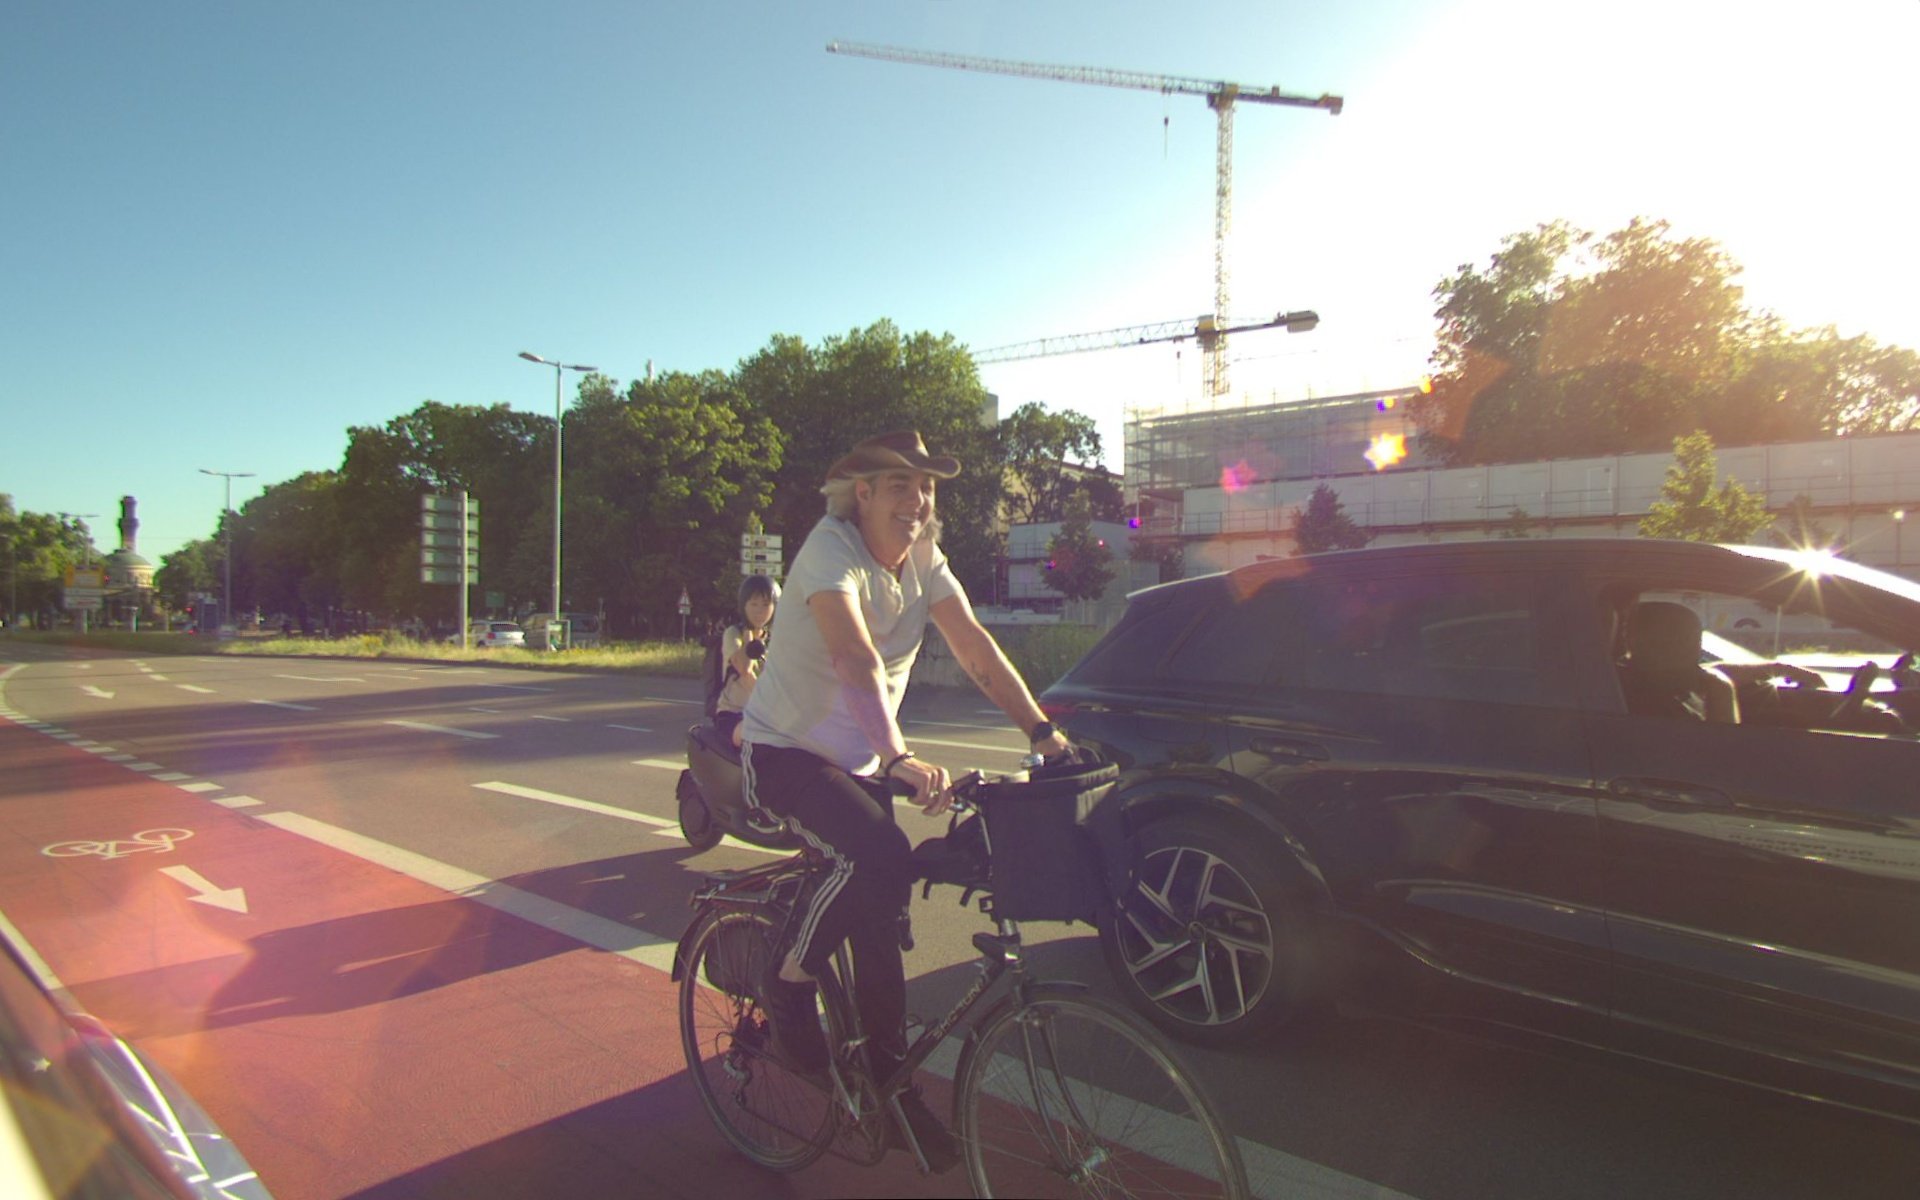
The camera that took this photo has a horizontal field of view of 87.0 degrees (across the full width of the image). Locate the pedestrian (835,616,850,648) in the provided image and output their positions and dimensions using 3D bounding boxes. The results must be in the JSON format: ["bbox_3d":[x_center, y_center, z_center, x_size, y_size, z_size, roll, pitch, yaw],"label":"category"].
[{"bbox_3d":[-5.629,1.554,48.576,0.494,1.522,0.492,-1,-2,41],"label":"pedestrian"}]

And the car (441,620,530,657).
[{"bbox_3d":[-18.615,1.489,39.662,3.941,1.387,1.705,-1,-2,41],"label":"car"}]

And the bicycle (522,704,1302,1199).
[{"bbox_3d":[-0.247,0.899,2.425,1.890,1.156,0.731,-1,-2,41],"label":"bicycle"}]

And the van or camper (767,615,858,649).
[{"bbox_3d":[-8.959,1.933,61.887,1.951,1.960,5.425,-2,-2,44],"label":"van or camper"}]

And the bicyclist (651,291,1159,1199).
[{"bbox_3d":[-0.121,0.330,2.329,0.851,1.713,0.797,-1,-2,41],"label":"bicyclist"}]

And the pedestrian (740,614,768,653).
[{"bbox_3d":[-10.543,1.705,51.741,0.815,1.978,1.111,-1,0,41],"label":"pedestrian"}]

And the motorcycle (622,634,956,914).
[{"bbox_3d":[-1.015,0.844,5.697,1.943,1.290,0.817,-1,-2,41],"label":"motorcycle"}]

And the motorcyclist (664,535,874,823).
[{"bbox_3d":[-1.088,0.416,5.778,0.877,1.475,0.813,-1,-2,41],"label":"motorcyclist"}]

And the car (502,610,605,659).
[{"bbox_3d":[-17.135,1.431,42.550,4.925,1.937,1.863,-1,-2,39],"label":"car"}]

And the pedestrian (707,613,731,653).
[{"bbox_3d":[-12.607,1.711,52.884,0.941,2.029,0.842,-1,0,-36],"label":"pedestrian"}]

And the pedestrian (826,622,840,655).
[{"bbox_3d":[-6.003,1.811,47.861,0.494,1.522,0.492,-1,-2,41],"label":"pedestrian"}]

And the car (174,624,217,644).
[{"bbox_3d":[-57.991,2.559,76.735,3.979,1.492,1.857,-1,-2,41],"label":"car"}]

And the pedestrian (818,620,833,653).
[{"bbox_3d":[-6.189,1.662,46.601,0.494,1.522,0.492,-1,-2,41],"label":"pedestrian"}]

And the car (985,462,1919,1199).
[{"bbox_3d":[2.573,0.561,3.188,4.660,1.720,2.144,-1,-1,39],"label":"car"}]
